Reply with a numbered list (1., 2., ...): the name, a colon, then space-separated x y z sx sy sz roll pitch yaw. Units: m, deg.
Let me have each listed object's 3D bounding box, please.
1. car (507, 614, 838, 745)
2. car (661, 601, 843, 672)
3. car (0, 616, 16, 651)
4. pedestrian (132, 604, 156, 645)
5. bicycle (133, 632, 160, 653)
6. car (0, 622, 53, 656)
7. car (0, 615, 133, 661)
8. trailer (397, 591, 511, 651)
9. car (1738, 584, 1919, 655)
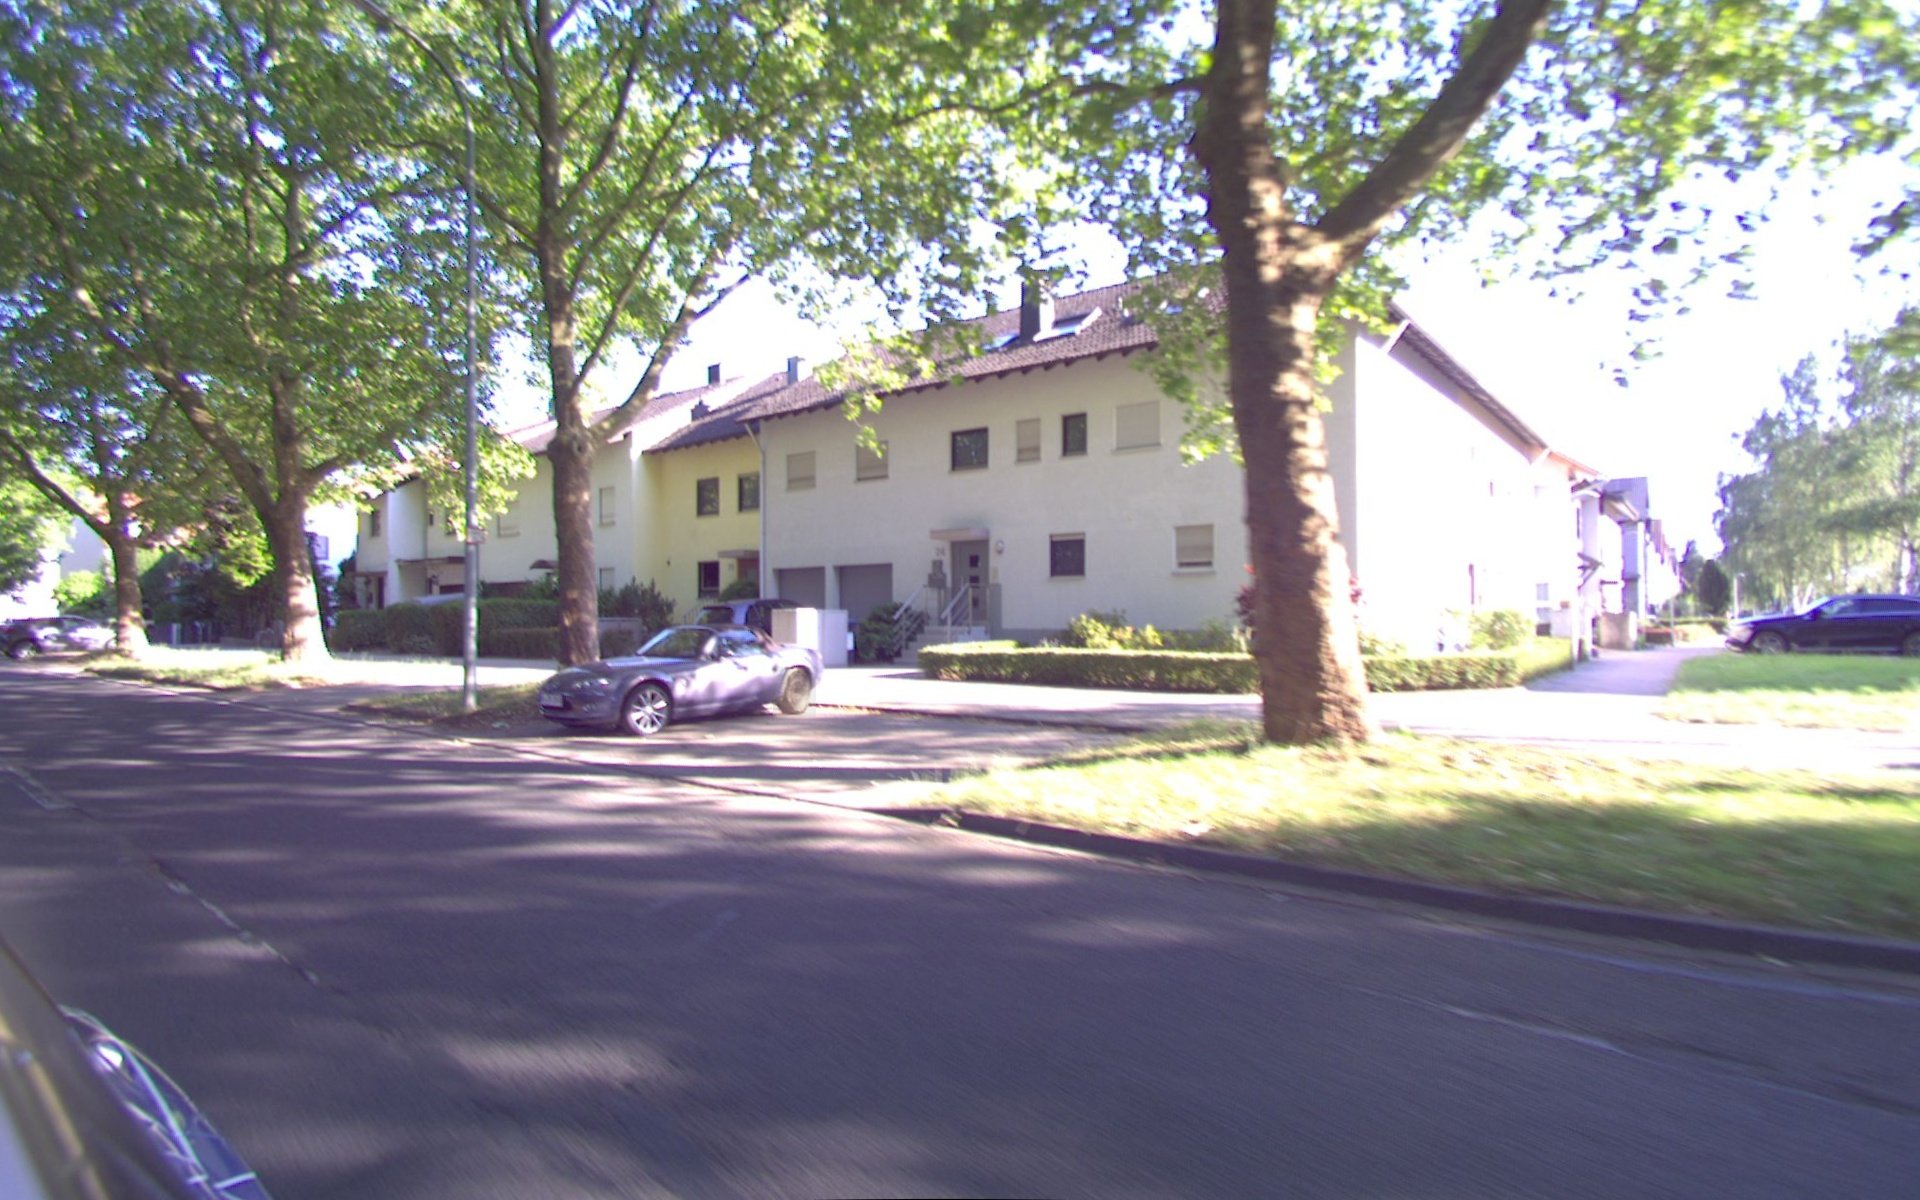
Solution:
1. car: -3.578 0.909 13.120 1.788 1.326 3.788 -1 0 39
2. car: -4.880 0.809 24.114 1.899 1.475 3.947 0 1 40
3. car: -52.161 1.765 52.488 1.990 1.838 4.349 -1 0 34
4. pedestrian: -34.966 1.064 43.362 1.064 1.729 0.610 -1 -1 39
5. bicycle: -34.831 1.808 43.339 2.153 0.887 0.465 -1 -1 39
6. car: -44.165 1.794 46.182 1.661 1.530 3.839 -2 -1 34
7. car: -33.349 1.384 37.455 1.814 1.530 3.951 -2 0 37
8. trailer: -19.321 0.777 38.727 1.640 1.940 3.422 -3 2 37
9. car: 21.444 0.446 24.185 4.457 1.586 1.975 -1 0 37
